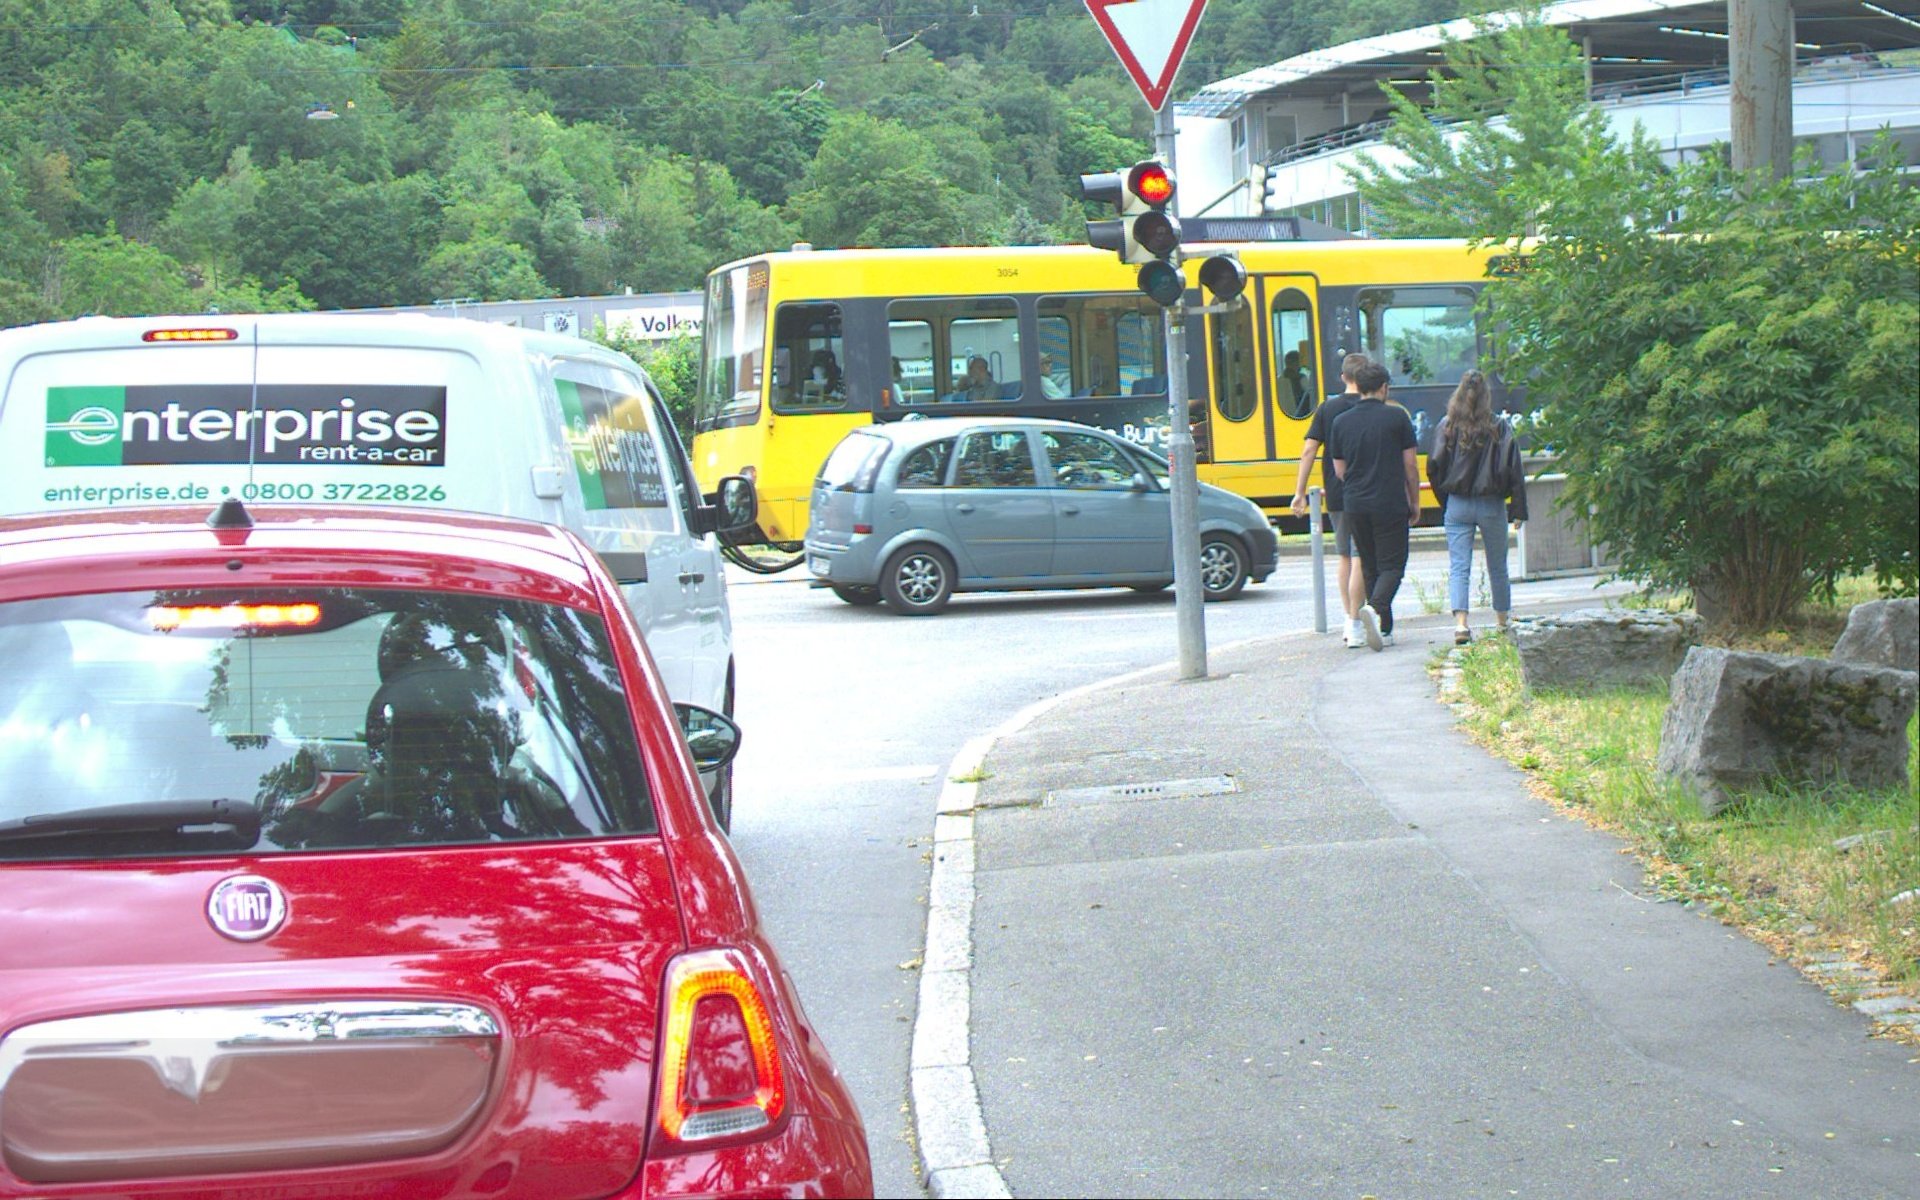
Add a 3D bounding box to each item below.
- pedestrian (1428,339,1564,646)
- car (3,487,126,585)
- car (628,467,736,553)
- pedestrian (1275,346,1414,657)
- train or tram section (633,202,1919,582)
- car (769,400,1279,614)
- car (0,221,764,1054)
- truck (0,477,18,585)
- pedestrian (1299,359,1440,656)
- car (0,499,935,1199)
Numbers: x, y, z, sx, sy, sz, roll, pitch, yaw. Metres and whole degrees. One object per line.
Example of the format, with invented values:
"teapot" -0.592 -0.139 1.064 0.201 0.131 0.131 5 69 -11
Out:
"pedestrian" 3.141 -0.633 20.200 0.693 1.733 0.788 -3 2 8
"car" -17.773 -1.308 68.405 1.859 1.811 4.404 -3 2 -9
"car" -6.347 -2.088 78.834 1.993 1.809 4.000 -3 2 1
"pedestrian" 2.374 -0.608 21.181 0.693 1.850 0.788 -3 2 12
"train or tram section" 5.955 -2.579 39.929 19.108 3.653 3.279 -3 2 -21
"car" 0.524 -0.806 29.083 3.875 1.578 1.803 -3 2 -18
"car" -1.893 0.019 11.369 1.989 2.099 4.762 -3 2 2
"truck" -23.760 -1.409 76.106 5.183 2.385 2.000 -4 3 -28
"pedestrian" 2.449 -0.555 20.502 0.693 1.708 0.788 -3 2 12
"car" -1.172 0.591 5.537 1.638 1.451 3.432 -2 2 -11
